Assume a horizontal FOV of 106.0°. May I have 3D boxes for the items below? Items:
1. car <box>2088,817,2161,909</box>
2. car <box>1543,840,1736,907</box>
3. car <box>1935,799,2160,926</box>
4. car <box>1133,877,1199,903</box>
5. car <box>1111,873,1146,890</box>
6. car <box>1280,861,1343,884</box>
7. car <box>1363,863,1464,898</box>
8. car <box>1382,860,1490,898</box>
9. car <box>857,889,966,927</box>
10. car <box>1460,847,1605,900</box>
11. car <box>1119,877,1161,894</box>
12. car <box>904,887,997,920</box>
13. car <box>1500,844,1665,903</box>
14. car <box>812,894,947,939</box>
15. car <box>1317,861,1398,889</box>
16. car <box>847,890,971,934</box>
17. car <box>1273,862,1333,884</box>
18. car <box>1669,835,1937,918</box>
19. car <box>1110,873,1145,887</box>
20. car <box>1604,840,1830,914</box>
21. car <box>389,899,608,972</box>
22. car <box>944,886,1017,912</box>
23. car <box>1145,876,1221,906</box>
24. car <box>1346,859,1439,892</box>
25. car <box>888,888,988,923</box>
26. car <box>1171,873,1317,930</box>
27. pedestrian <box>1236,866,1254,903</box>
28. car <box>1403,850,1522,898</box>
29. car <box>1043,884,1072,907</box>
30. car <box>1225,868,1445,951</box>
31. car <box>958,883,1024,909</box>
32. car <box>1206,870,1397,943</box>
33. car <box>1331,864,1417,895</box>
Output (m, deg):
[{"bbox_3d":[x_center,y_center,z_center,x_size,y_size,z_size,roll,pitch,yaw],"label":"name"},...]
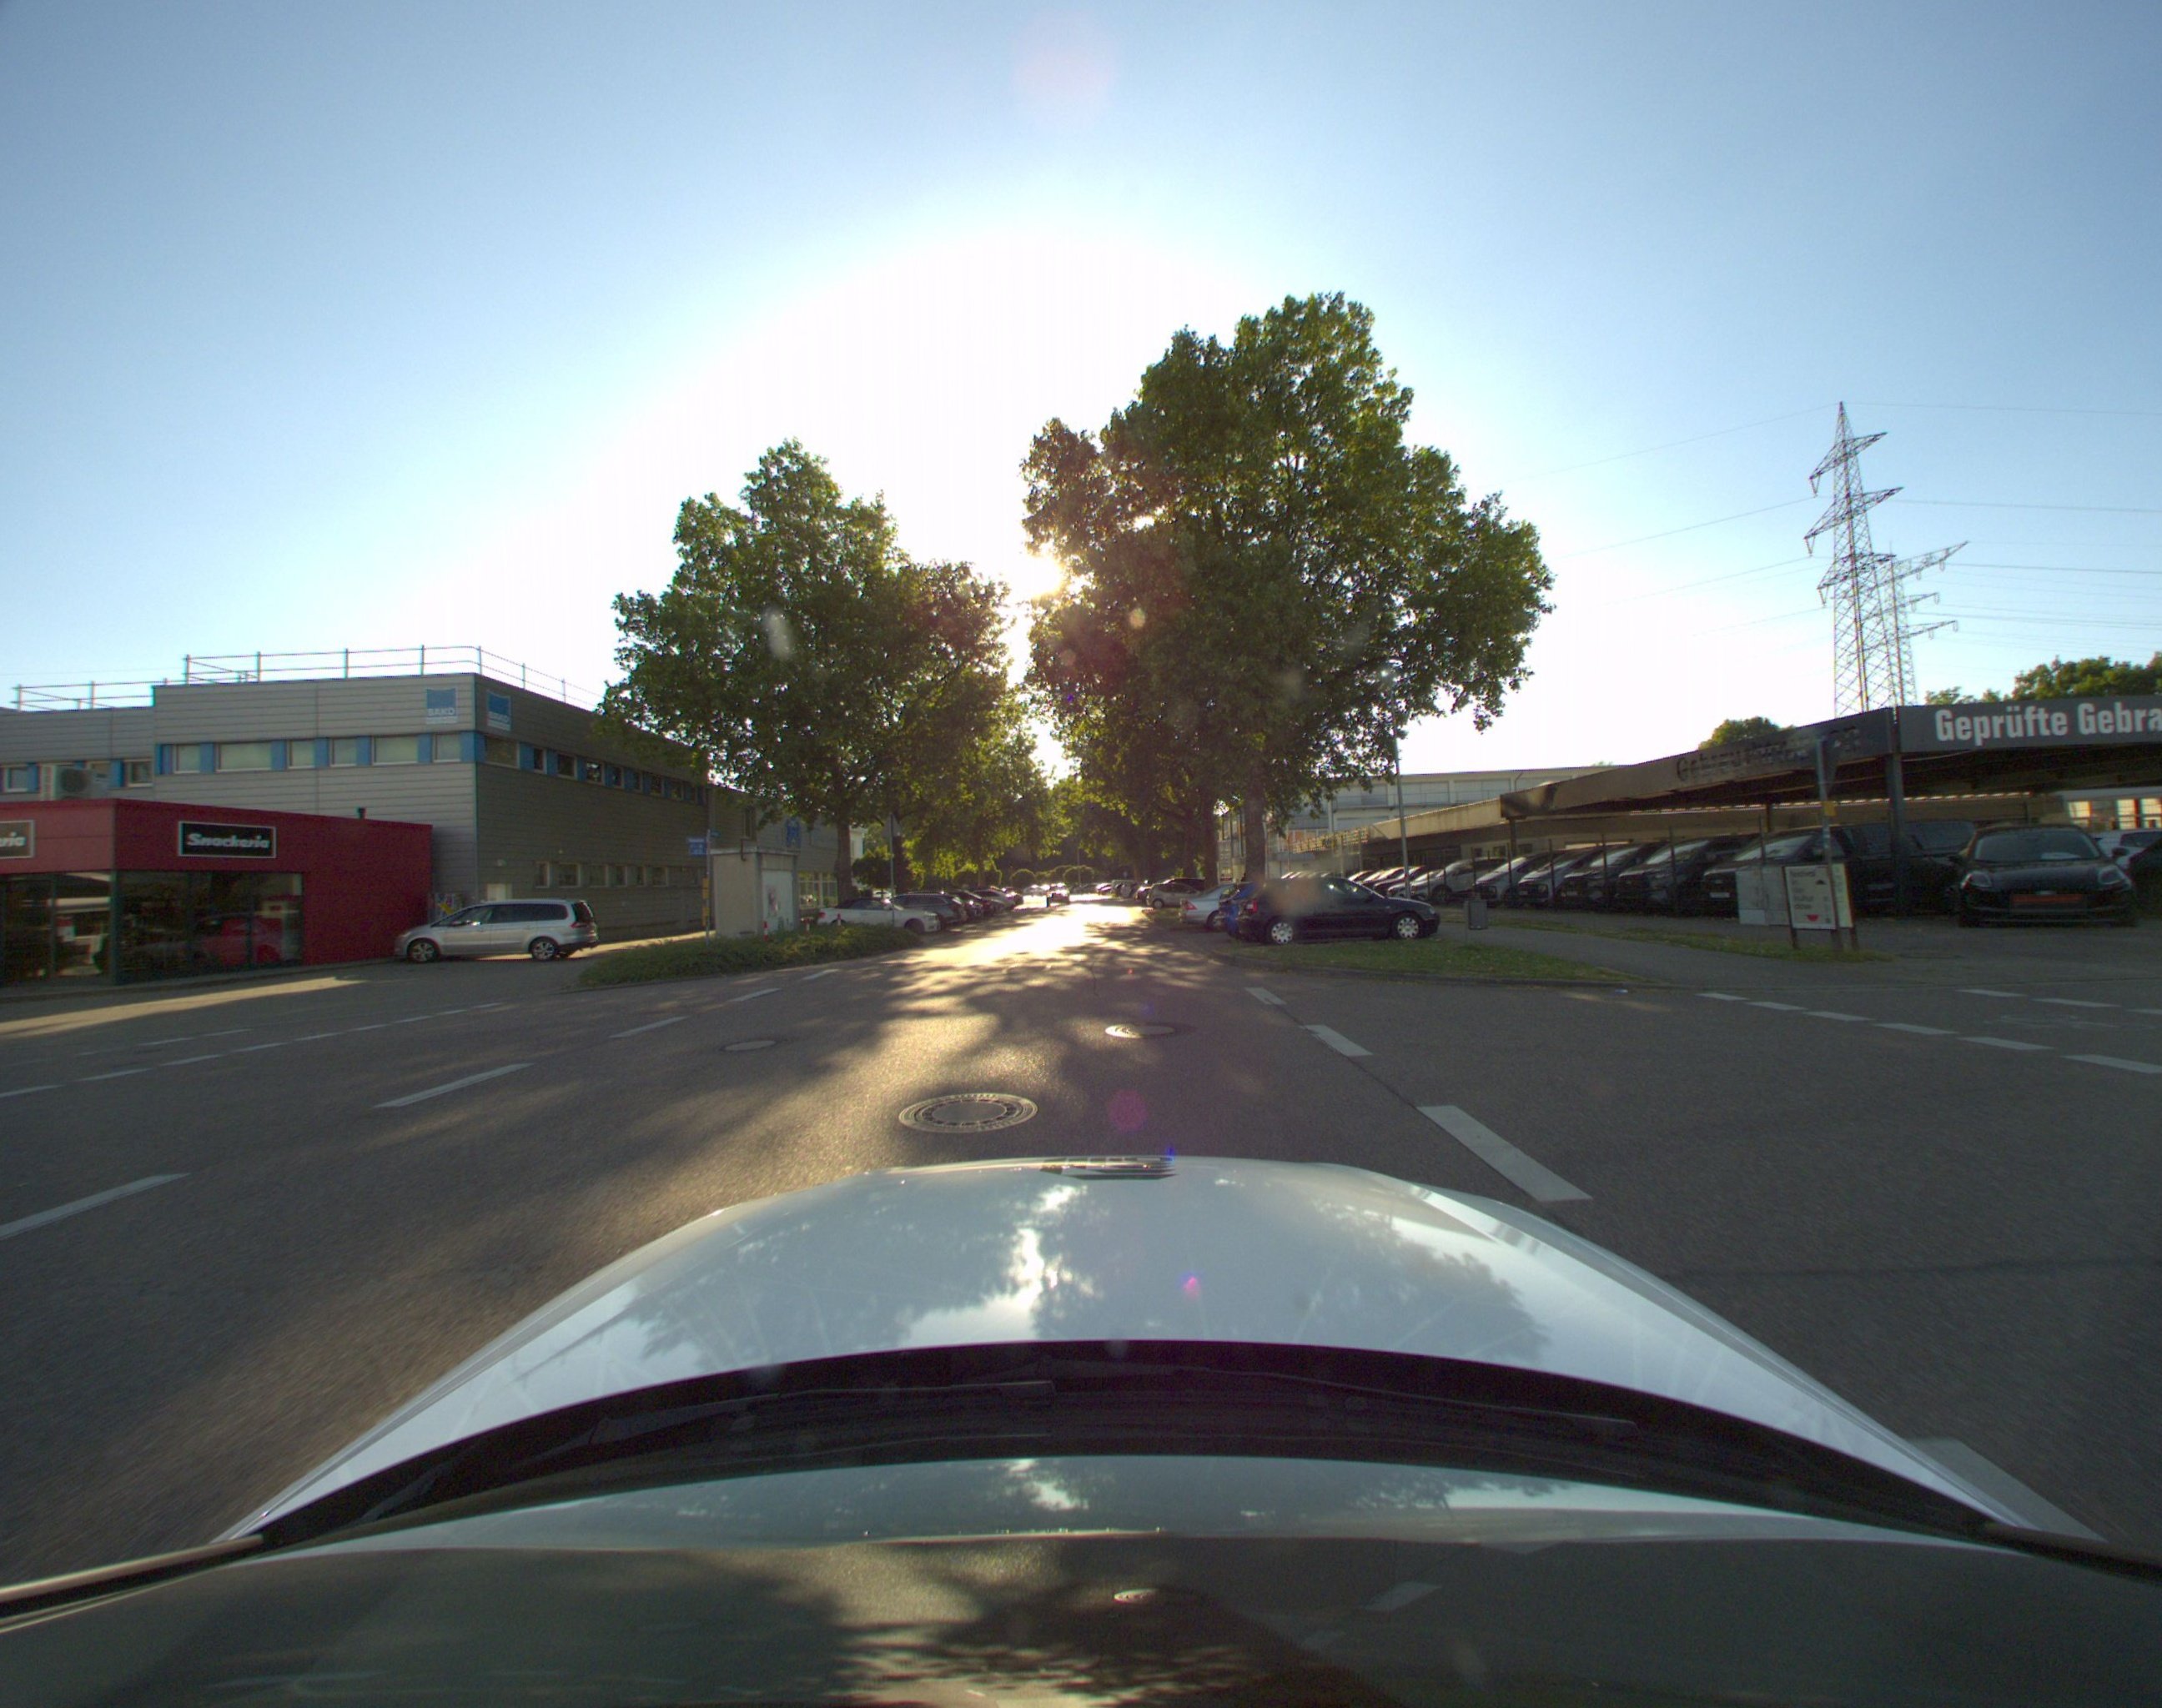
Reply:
[{"bbox_3d":[19.698,0.075,13.093,1.987,1.602,3.999,-3,-2,0],"label":"car"},{"bbox_3d":[15.429,0.540,22.659,3.974,1.700,1.999,-1,-2,0],"label":"car"},{"bbox_3d":[15.851,0.198,13.606,1.915,1.770,4.023,-6,-5,44],"label":"car"},{"bbox_3d":[5.320,2.242,51.340,3.973,1.381,1.827,-3,-2,1],"label":"car"},{"bbox_3d":[5.584,3.267,95.792,3.973,1.777,1.827,-3,-2,1],"label":"car"},{"bbox_3d":[16.817,1.355,59.537,3.974,1.546,1.999,-1,-2,0],"label":"car"},{"bbox_3d":[15.828,1.248,38.918,3.974,1.546,1.999,-1,-2,0],"label":"car"},{"bbox_3d":[15.840,1.120,36.485,3.974,1.546,1.999,-1,-2,0],"label":"car"},{"bbox_3d":[-7.541,2.397,36.520,4.402,1.517,1.999,-1,-2,-1],"label":"car"},{"bbox_3d":[15.826,0.681,28.687,3.974,1.700,1.999,-1,-2,0],"label":"car"},{"bbox_3d":[5.770,3.049,79.944,3.973,1.416,1.827,-3,-2,1],"label":"car"},{"bbox_3d":[-6.696,2.542,42.249,4.398,1.517,2.001,-2,-2,2],"label":"car"},{"bbox_3d":[15.853,0.610,25.902,3.974,1.700,1.999,-1,-2,0],"label":"car"},{"bbox_3d":[-7.203,2.243,29.525,4.407,1.403,1.997,-1,-2,-4],"label":"car"},{"bbox_3d":[15.918,1.229,47.072,3.974,1.504,1.999,-1,-2,0],"label":"car"},{"bbox_3d":[-6.682,2.239,31.976,4.402,1.517,1.999,-1,-2,-1],"label":"car"},{"bbox_3d":[16.840,1.415,61.948,3.974,1.546,1.999,-1,-2,0],"label":"car"},{"bbox_3d":[15.387,0.481,17.537,3.974,1.568,1.999,-1,-2,0],"label":"car"},{"bbox_3d":[5.477,3.023,96.420,3.973,1.416,1.827,-3,-2,1],"label":"car"},{"bbox_3d":[15.530,0.558,20.060,3.974,1.634,1.999,-1,-2,0],"label":"car"},{"bbox_3d":[-16.388,2.246,23.195,4.637,1.741,1.990,-1,-2,-15],"label":"car"},{"bbox_3d":[-6.509,2.924,53.262,4.398,1.517,2.001,-2,-2,2],"label":"car"},{"bbox_3d":[5.625,2.028,45.359,3.973,1.416,1.827,-3,-2,1],"label":"car"},{"bbox_3d":[15.863,1.106,41.653,3.974,1.546,1.999,-1,-2,0],"label":"car"},{"bbox_3d":[-6.803,2.455,39.117,4.404,1.517,1.998,-1,-2,-3],"label":"car"},{"bbox_3d":[4.822,1.392,24.496,3.973,1.416,1.827,-3,-2,1],"label":"car"},{"bbox_3d":[9.130,1.687,45.430,0.846,2.014,0.780,-2,-2,6],"label":"pedestrian"},{"bbox_3d":[15.817,0.847,33.939,3.974,1.832,1.999,-1,-2,0],"label":"car"},{"bbox_3d":[-1.759,3.175,62.576,1.986,1.609,4.001,-1,-1,1],"label":"car"},{"bbox_3d":[5.217,1.126,17.152,3.973,1.416,2.000,-3,-2,1],"label":"car"},{"bbox_3d":[-6.450,2.993,58.451,4.398,1.697,2.001,-2,-2,2],"label":"car"},{"bbox_3d":[5.140,1.213,19.441,3.973,1.416,2.000,-3,-2,1],"label":"car"},{"bbox_3d":[15.905,1.385,44.371,3.974,1.546,1.999,-1,-2,0],"label":"car"}]
